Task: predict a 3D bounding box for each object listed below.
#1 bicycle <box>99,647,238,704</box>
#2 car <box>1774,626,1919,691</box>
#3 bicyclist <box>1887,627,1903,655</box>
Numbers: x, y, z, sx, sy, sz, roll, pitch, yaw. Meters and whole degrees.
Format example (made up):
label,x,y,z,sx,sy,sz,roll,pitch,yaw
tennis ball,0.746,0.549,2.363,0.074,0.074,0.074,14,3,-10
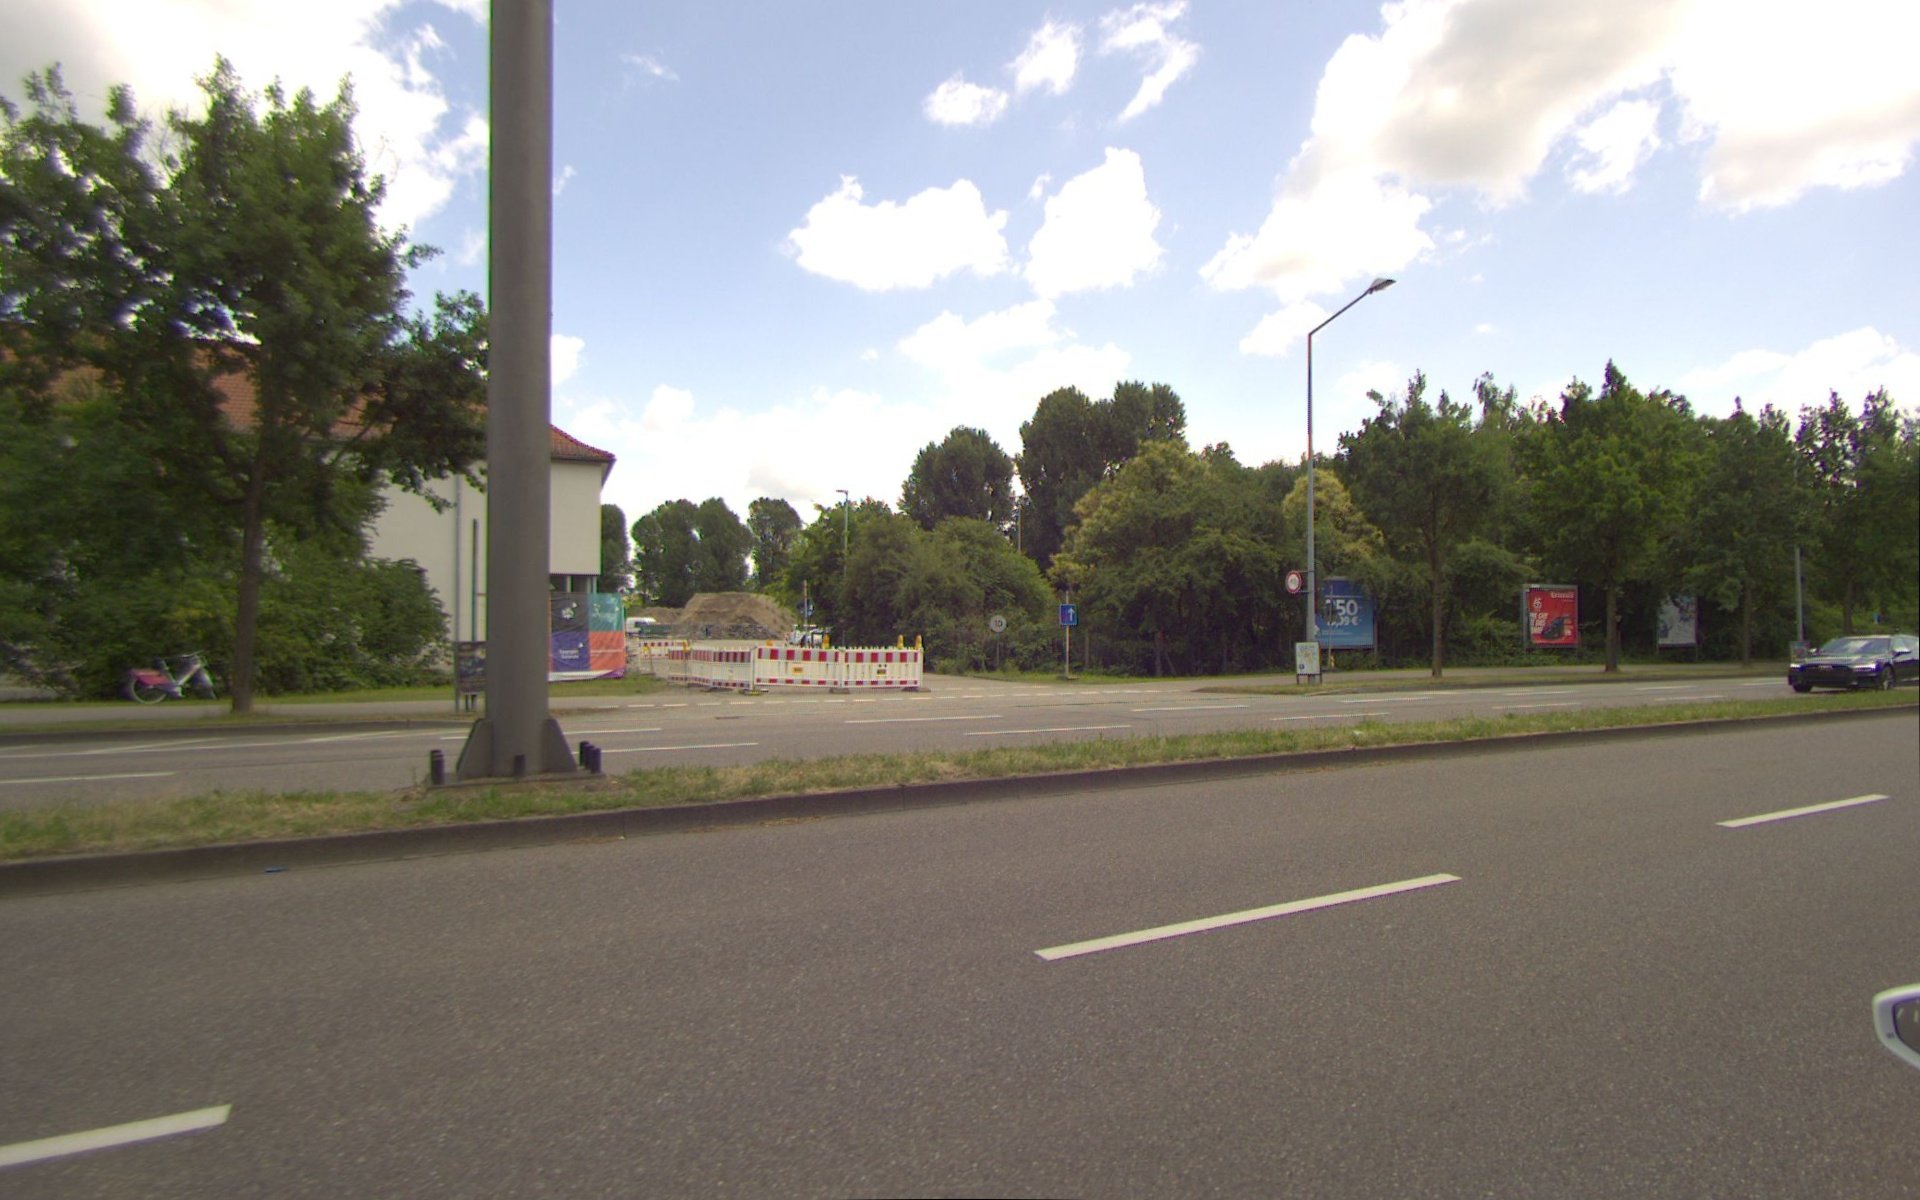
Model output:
label,x,y,z,sx,sy,sz,roll,pitch,yaw
bicycle,-15.451,1.447,19.685,0.651,1.028,2.151,0,-2,15
car,23.133,1.440,25.751,4.851,1.537,1.950,1,-2,-30
bicyclist,52.056,2.283,55.946,0.706,1.484,0.490,1,0,-35
